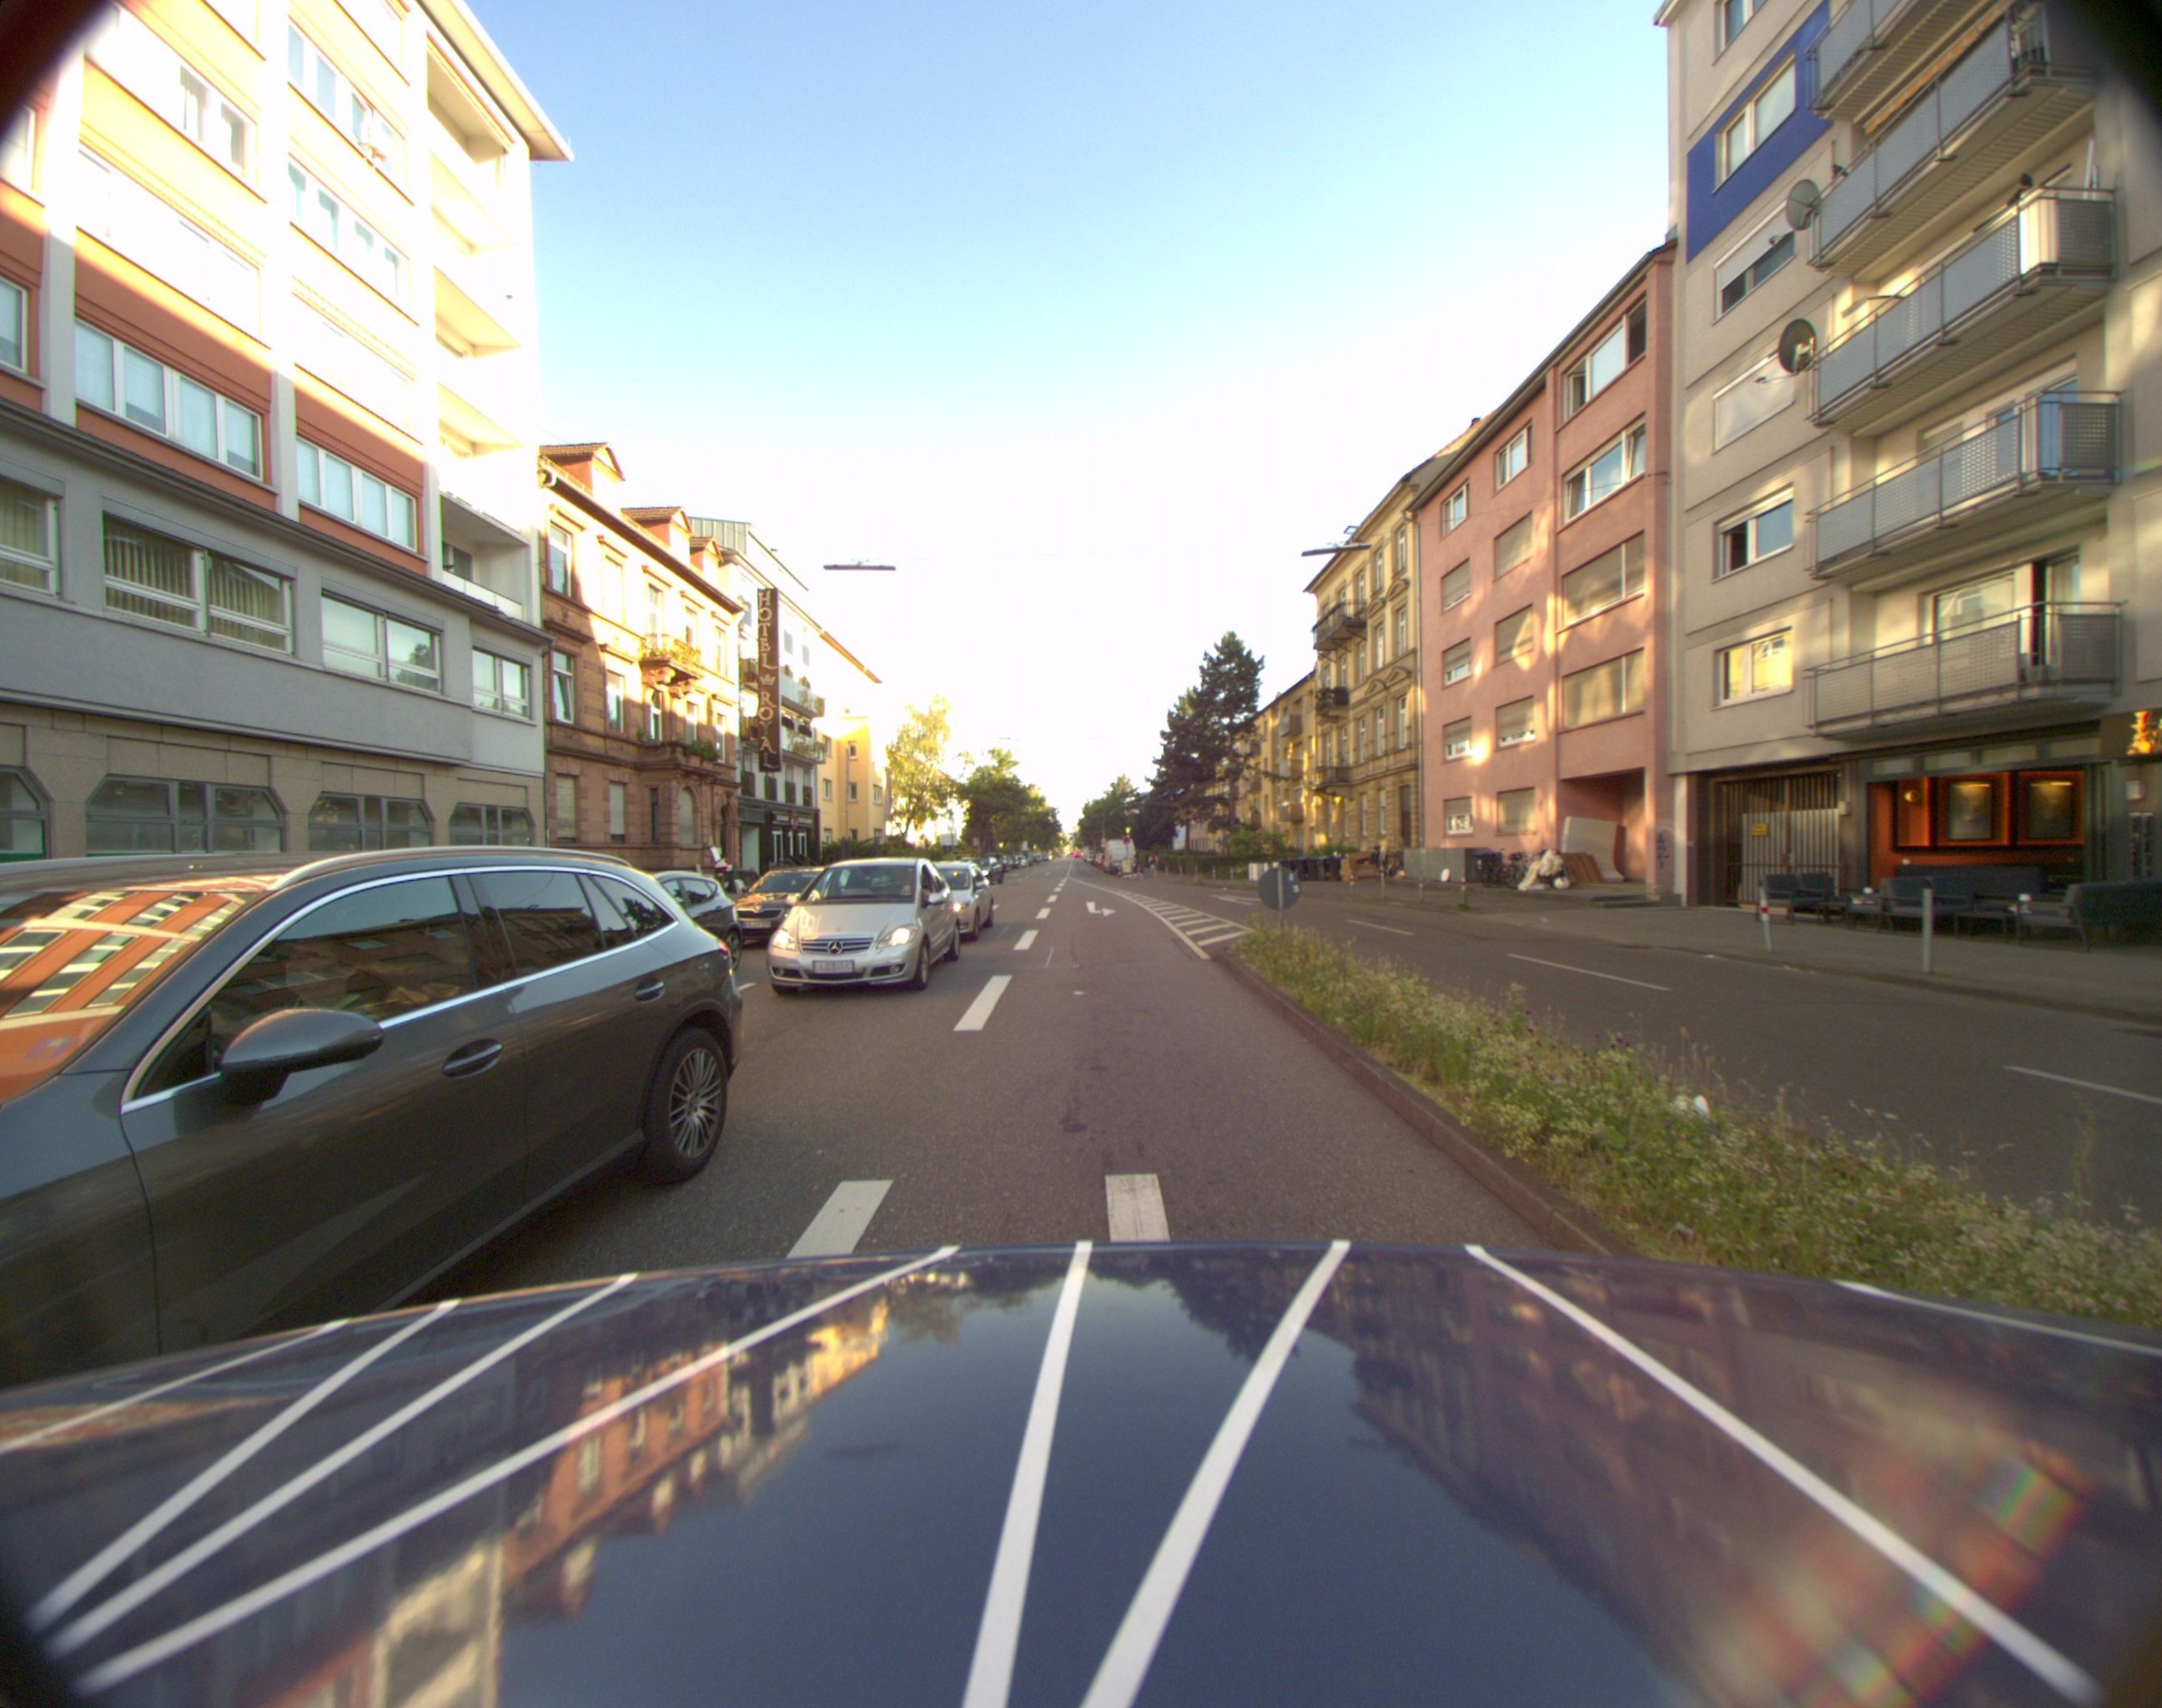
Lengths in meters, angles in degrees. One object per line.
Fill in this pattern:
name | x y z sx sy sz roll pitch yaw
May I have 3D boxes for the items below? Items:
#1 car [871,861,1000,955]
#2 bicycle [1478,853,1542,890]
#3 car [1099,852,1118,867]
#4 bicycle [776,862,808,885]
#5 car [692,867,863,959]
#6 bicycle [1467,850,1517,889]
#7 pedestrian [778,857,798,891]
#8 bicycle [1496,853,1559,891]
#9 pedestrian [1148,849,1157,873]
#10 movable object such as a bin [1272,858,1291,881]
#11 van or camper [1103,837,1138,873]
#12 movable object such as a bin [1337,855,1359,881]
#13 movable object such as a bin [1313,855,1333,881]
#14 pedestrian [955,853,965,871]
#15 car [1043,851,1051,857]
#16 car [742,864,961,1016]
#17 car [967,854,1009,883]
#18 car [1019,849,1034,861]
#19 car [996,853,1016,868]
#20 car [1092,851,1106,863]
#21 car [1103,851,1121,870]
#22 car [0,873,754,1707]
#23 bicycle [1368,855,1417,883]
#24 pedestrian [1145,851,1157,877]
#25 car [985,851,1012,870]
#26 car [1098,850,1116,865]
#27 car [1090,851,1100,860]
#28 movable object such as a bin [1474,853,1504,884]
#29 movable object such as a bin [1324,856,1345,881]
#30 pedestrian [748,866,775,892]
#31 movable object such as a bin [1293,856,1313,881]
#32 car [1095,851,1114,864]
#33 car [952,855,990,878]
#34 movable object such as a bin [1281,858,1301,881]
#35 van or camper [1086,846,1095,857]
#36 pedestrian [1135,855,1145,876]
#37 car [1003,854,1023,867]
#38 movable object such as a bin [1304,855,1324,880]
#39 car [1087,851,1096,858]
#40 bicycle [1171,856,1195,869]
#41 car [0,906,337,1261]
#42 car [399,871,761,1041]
car | -2.742 0.949 15.253 1.712 1.501 4.308 -2 0 0
bicycle | 13.061 0.526 23.131 1.675 1.035 0.549 -2 1 -7
car | 2.694 0.543 75.017 1.721 1.443 3.922 -2 0 -1
bicycle | -14.259 0.964 37.513 1.427 1.104 0.488 2 0 -18
car | -5.803 1.048 15.129 1.712 1.449 4.158 -1 0 0
bicycle | 12.958 0.480 23.935 1.677 1.153 0.495 -3 2 -26
pedestrian | -14.366 0.988 37.263 0.709 1.633 0.693 -1 0 -1
bicycle | 13.104 0.523 22.302 1.676 1.035 0.549 -2 1 -15
pedestrian | 4.873 0.487 51.951 0.481 1.642 0.725 -1 1 -7
movable object such as a bin | 9.777 0.748 37.063 0.643 1.077 0.582 -4 2 -31
van or camper | 3.087 0.034 60.882 2.041 2.648 6.013 -3 1 -3
movable object such as a bin | 11.845 0.620 33.696 0.643 1.104 0.582 -4 2 -31
movable object such as a bin | 11.039 0.636 34.681 0.643 1.104 0.582 -4 2 -31
pedestrian | -10.467 0.694 65.915 0.748 1.606 0.579 -1 1 -2
car | -8.111 -0.035 182.882 1.798 1.558 3.672 0 0 0
car | -2.751 0.947 9.985 1.808 1.559 3.618 -1 0 -1
car | -5.171 0.770 42.757 1.999 1.525 3.999 -1 0 -2
car | -7.533 0.133 105.219 1.921 1.672 4.706 1 0 -2
car | -7.601 0.625 77.245 1.721 1.464 4.430 0 0 -2
car | 2.434 0.341 103.599 1.842 1.508 4.315 -2 0 0
car | 2.687 0.526 65.833 1.407 1.539 2.761 -3 0 1
car | -2.771 0.944 2.135 1.788 1.623 4.478 -1 0 -1
bicycle | 12.919 0.627 31.549 1.653 0.961 0.662 -6 1 -2
pedestrian | 4.540 0.645 49.238 0.606 1.642 0.696 -1 1 -7
car | -7.376 0.553 68.424 1.953 1.645 4.795 -1 0 -1
car | 2.922 0.400 86.208 1.781 1.579 4.185 -2 0 0
car | 2.411 0.232 131.964 1.684 1.434 3.881 -2 0 1
movable object such as a bin | 13.740 0.470 25.587 0.676 1.026 0.589 -1 1 -1
movable object such as a bin | 11.420 0.641 34.208 0.643 1.104 0.582 -4 2 -31
pedestrian | -13.616 1.062 32.412 0.692 1.037 0.945 -1 1 3
movable object such as a bin | 10.501 0.674 35.876 0.643 1.104 0.582 -4 2 -31
car | 2.802 0.394 91.201 1.999 1.439 4.457 -1 1 -1
car | -7.520 0.823 52.400 1.860 1.503 4.834 1 0 1
movable object such as a bin | 10.067 0.724 36.462 0.643 1.062 0.626 -4 2 -31
van or camper | 2.120 -0.583 169.871 1.918 2.528 5.334 -1 0 0
pedestrian | 4.036 0.776 52.127 0.560 1.370 0.480 -2 1 -6
car | -7.490 0.686 84.052 1.775 1.440 4.483 0 0 -1
movable object such as a bin | 10.825 0.613 35.313 0.643 1.104 0.582 -4 2 -31
car | 2.081 0.101 155.979 1.808 1.489 3.956 -1 0 1
bicycle | 7.987 0.639 59.552 1.763 0.976 0.590 -2 1 1
car | -5.659 1.110 3.273 1.493 1.497 3.478 -1 0 -1
car | -5.748 1.040 9.487 1.655 1.476 4.239 -2 0 0
